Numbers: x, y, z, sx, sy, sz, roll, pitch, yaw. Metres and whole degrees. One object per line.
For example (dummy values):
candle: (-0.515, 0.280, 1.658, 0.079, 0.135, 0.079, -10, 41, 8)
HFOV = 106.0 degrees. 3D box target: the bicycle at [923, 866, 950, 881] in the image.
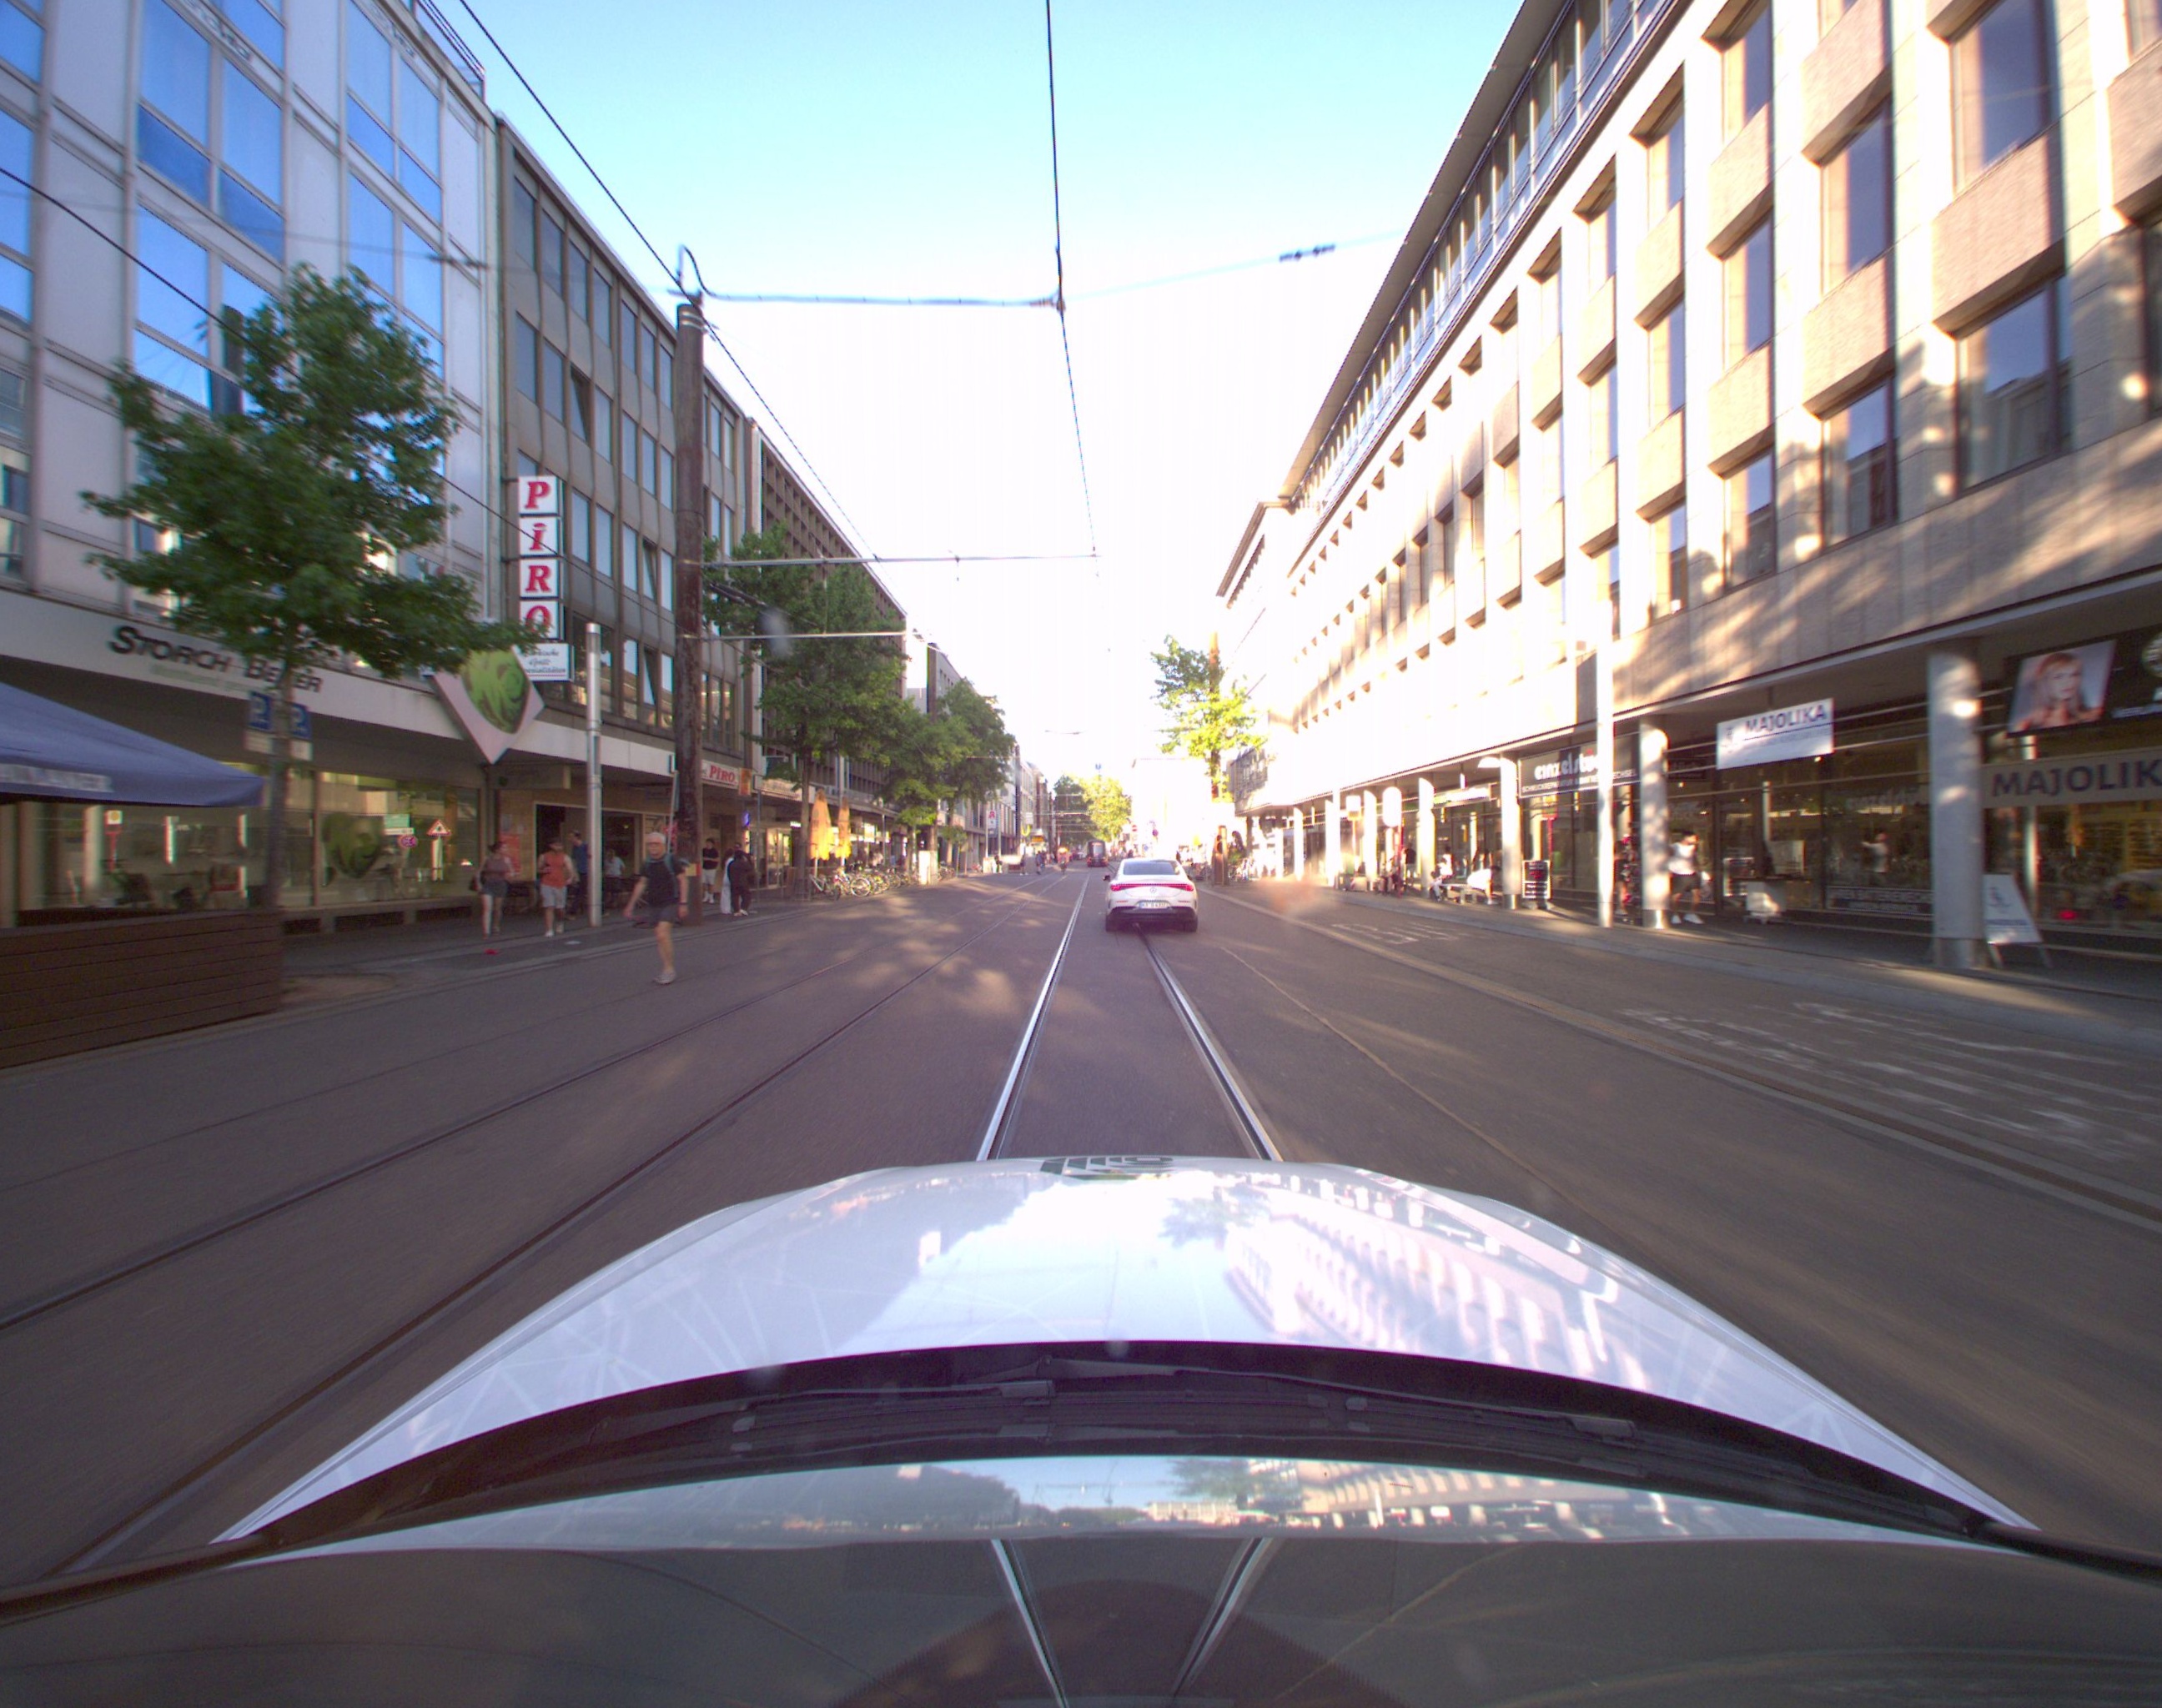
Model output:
bicycle: (-8.212, 1.103, 46.283, 1.487, 0.783, 0.345, 1, 0, 2)

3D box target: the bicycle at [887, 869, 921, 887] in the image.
bicycle: (-8.104, 1.099, 37.252, 1.487, 0.783, 0.345, 1, 0, 2)

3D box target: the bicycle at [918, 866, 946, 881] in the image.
bicycle: (-8.359, 1.097, 45.561, 1.487, 0.783, 0.345, 1, 0, 2)

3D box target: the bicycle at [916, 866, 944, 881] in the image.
bicycle: (-8.372, 1.096, 45.202, 1.487, 0.783, 0.345, 1, 0, 2)

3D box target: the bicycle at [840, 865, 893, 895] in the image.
bicycle: (-7.991, 0.969, 30.371, 1.842, 1.077, 0.376, 1, 0, -4)

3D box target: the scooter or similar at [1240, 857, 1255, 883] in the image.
scooter or similar: (8.325, 0.780, 40.798, 0.491, 1.277, 0.658, -3, 0, -10)

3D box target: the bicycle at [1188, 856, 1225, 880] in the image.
bicycle: (7.119, 0.772, 46.244, 1.908, 1.281, 0.607, -2, 0, -11)

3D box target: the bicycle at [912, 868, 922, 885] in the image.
bicycle: (-7.809, 1.082, 38.873, 0.343, 0.783, 1.402, 1, 0, -7)

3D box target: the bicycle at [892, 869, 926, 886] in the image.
bicycle: (-7.989, 1.103, 37.923, 1.487, 0.783, 0.345, 1, 0, 2)

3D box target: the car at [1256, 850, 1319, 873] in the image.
car: (13.999, 0.515, 55.363, 3.794, 1.473, 1.647, -1, 0, -4)

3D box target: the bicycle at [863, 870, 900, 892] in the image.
bicycle: (-8.355, 1.121, 34.123, 1.490, 0.876, 0.344, 1, 0, -6)

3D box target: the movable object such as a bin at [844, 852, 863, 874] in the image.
movable object such as a bin: (-11.294, 0.452, 40.485, 0.713, 1.039, 0.980, -1, 0, -5)

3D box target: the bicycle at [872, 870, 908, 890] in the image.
bicycle: (-8.335, 1.131, 35.509, 1.487, 0.841, 0.345, 1, 0, 2)

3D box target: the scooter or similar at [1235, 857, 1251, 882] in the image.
scooter or similar: (8.224, 0.781, 41.315, 0.527, 1.277, 0.658, -3, 0, -10)

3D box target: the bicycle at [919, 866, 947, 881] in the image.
bicycle: (-8.342, 1.097, 45.921, 1.487, 0.783, 0.345, 1, 0, 2)

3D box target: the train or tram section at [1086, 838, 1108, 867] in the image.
train or tram section: (2.088, -0.202, 106.854, 2.685, 3.516, 12.547, -1, 0, 1)

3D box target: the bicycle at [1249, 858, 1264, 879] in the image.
bicycle: (9.813, 0.785, 45.548, 0.562, 1.127, 1.931, -2, 0, 4)

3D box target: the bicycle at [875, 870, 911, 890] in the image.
bicycle: (-8.285, 1.134, 35.877, 1.487, 0.841, 0.345, 1, 0, 2)

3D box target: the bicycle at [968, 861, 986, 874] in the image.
bicycle: (-8.835, 1.145, 69.254, 0.713, 1.010, 2.047, -1, 0, 15)

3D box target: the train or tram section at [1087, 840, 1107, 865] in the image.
train or tram section: (2.355, -0.208, 119.407, 2.685, 3.516, 12.547, -1, 0, 1)

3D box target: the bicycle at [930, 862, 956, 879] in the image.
bicycle: (-8.139, 0.966, 48.050, 1.492, 1.029, 0.343, 1, 0, -10)

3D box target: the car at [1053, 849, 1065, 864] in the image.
car: (-4.194, 0.497, 157.281, 1.986, 2.897, 5.276, -1, 0, 1)

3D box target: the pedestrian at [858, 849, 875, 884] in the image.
pedestrian: (-11.190, 0.654, 42.460, 0.717, 1.766, 0.679, -1, 0, -24)

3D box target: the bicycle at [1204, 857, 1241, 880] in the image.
bicycle: (7.881, 0.810, 45.361, 1.908, 1.156, 0.607, -2, 0, -11)

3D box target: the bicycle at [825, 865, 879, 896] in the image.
bicycle: (-8.159, 0.959, 29.064, 1.785, 1.077, 0.376, 1, 0, -4)

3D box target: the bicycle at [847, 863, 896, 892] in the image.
bicycle: (-8.460, 0.934, 32.907, 1.839, 1.141, 0.377, 1, 0, 2)

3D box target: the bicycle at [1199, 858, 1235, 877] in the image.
bicycle: (8.490, 0.845, 50.749, 2.114, 1.096, 0.607, -1, -1, -11)

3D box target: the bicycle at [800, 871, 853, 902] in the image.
bicycle: (-8.066, 1.032, 25.799, 1.587, 0.930, 0.378, 1, 0, 7)

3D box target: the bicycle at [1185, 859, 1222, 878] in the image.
bicycle: (7.421, 0.882, 49.227, 2.114, 1.096, 0.607, 0, -1, -11)

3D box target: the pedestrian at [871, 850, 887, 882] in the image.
pedestrian: (-11.414, 0.662, 46.051, 0.789, 1.766, 0.533, -1, 0, -24)

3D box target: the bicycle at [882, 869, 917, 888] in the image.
bicycle: (-8.123, 1.093, 36.542, 1.487, 0.841, 0.345, 1, 0, 2)

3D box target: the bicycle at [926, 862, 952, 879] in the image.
bicycle: (-8.281, 0.970, 47.612, 1.492, 1.009, 0.343, 1, 0, -10)

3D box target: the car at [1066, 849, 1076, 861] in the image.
car: (-2.157, 0.203, 176.146, 1.903, 2.461, 5.276, -1, 0, 1)

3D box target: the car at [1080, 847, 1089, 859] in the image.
car: (0.893, -0.228, 208.175, 2.091, 2.897, 5.276, -1, 0, 1)

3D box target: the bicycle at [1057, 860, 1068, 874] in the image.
bicycle: (-1.515, 1.049, 66.361, 0.797, 1.142, 2.256, 1, 0, 0)

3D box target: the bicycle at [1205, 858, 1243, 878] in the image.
bicycle: (8.516, 0.832, 48.550, 2.115, 1.096, 0.607, -1, -1, -12)

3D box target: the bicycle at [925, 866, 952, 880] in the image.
bicycle: (-8.172, 1.097, 46.652, 1.487, 0.783, 0.345, 1, 0, 2)

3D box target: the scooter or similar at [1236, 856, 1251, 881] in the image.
scooter or similar: (8.344, 0.737, 41.878, 0.527, 1.277, 0.658, -3, 0, -10)

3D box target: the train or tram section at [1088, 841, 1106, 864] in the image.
train or tram section: (2.599, -0.209, 131.248, 2.685, 3.516, 11.145, -1, 0, 1)

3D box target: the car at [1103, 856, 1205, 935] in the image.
car: (1.428, 0.786, 17.307, 1.851, 1.455, 4.175, 0, 0, 1)

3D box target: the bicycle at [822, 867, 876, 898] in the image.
bicycle: (-8.139, 0.993, 28.608, 1.785, 1.077, 0.376, 1, 0, -4)
